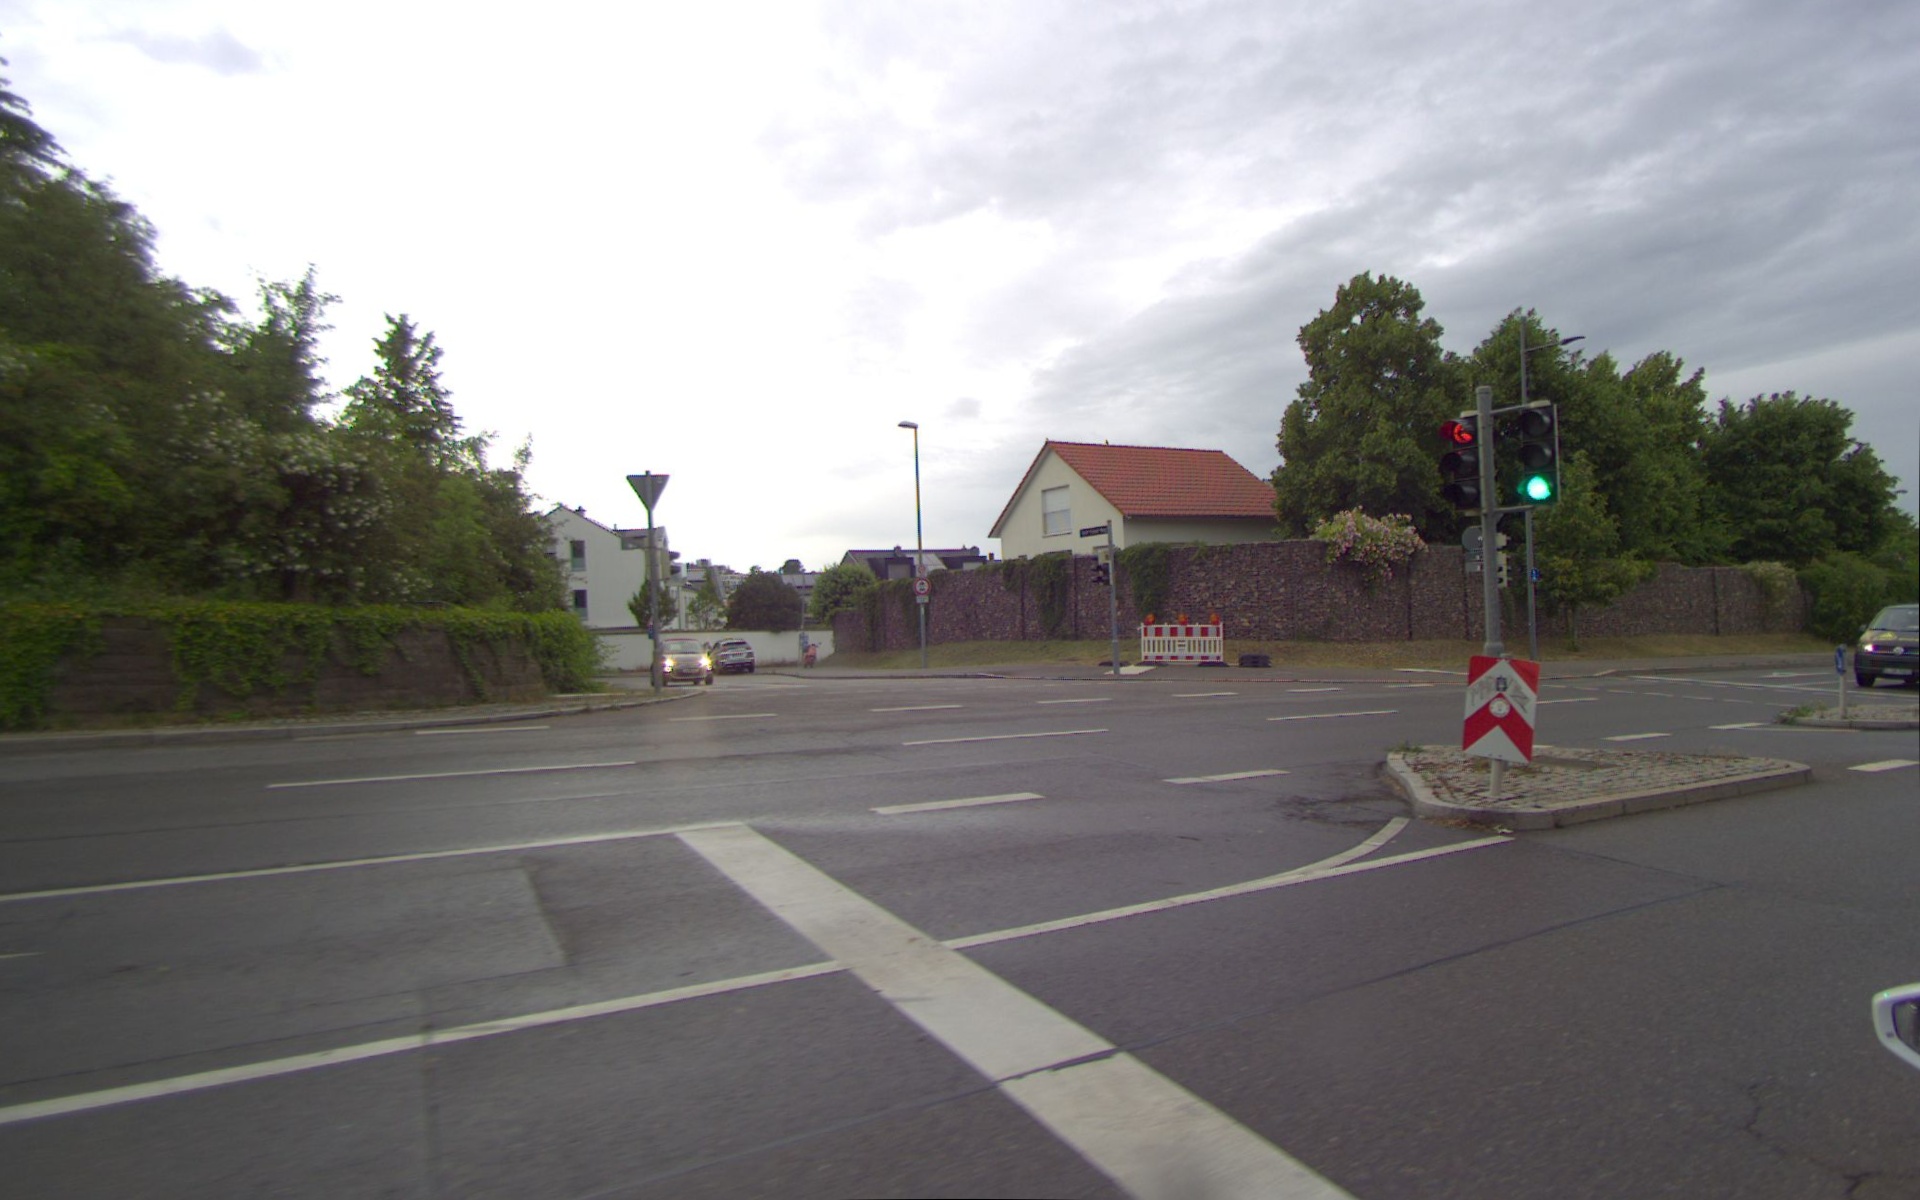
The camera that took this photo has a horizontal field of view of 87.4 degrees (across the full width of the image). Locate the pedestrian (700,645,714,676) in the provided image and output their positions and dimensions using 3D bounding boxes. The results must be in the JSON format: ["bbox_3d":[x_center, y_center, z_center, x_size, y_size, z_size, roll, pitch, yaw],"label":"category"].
[{"bbox_3d":[-12.525,2.991,49.731,0.541,1.458,0.477,0,-1,-29],"label":"pedestrian"}]

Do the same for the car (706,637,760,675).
[{"bbox_3d":[-11.437,2.771,50.445,1.868,1.725,3.977,-2,-1,-24],"label":"car"}]

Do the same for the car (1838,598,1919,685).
[{"bbox_3d":[23.340,0.958,24.150,5.038,1.944,2.003,1,-1,-32],"label":"car"}]

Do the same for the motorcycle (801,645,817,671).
[{"bbox_3d":[-7.299,2.798,48.610,0.340,1.158,1.300,1,-1,-27],"label":"motorcycle"}]

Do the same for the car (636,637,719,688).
[{"bbox_3d":[-9.203,1.981,32.552,1.671,1.492,3.970,-2,-1,-29],"label":"car"}]
